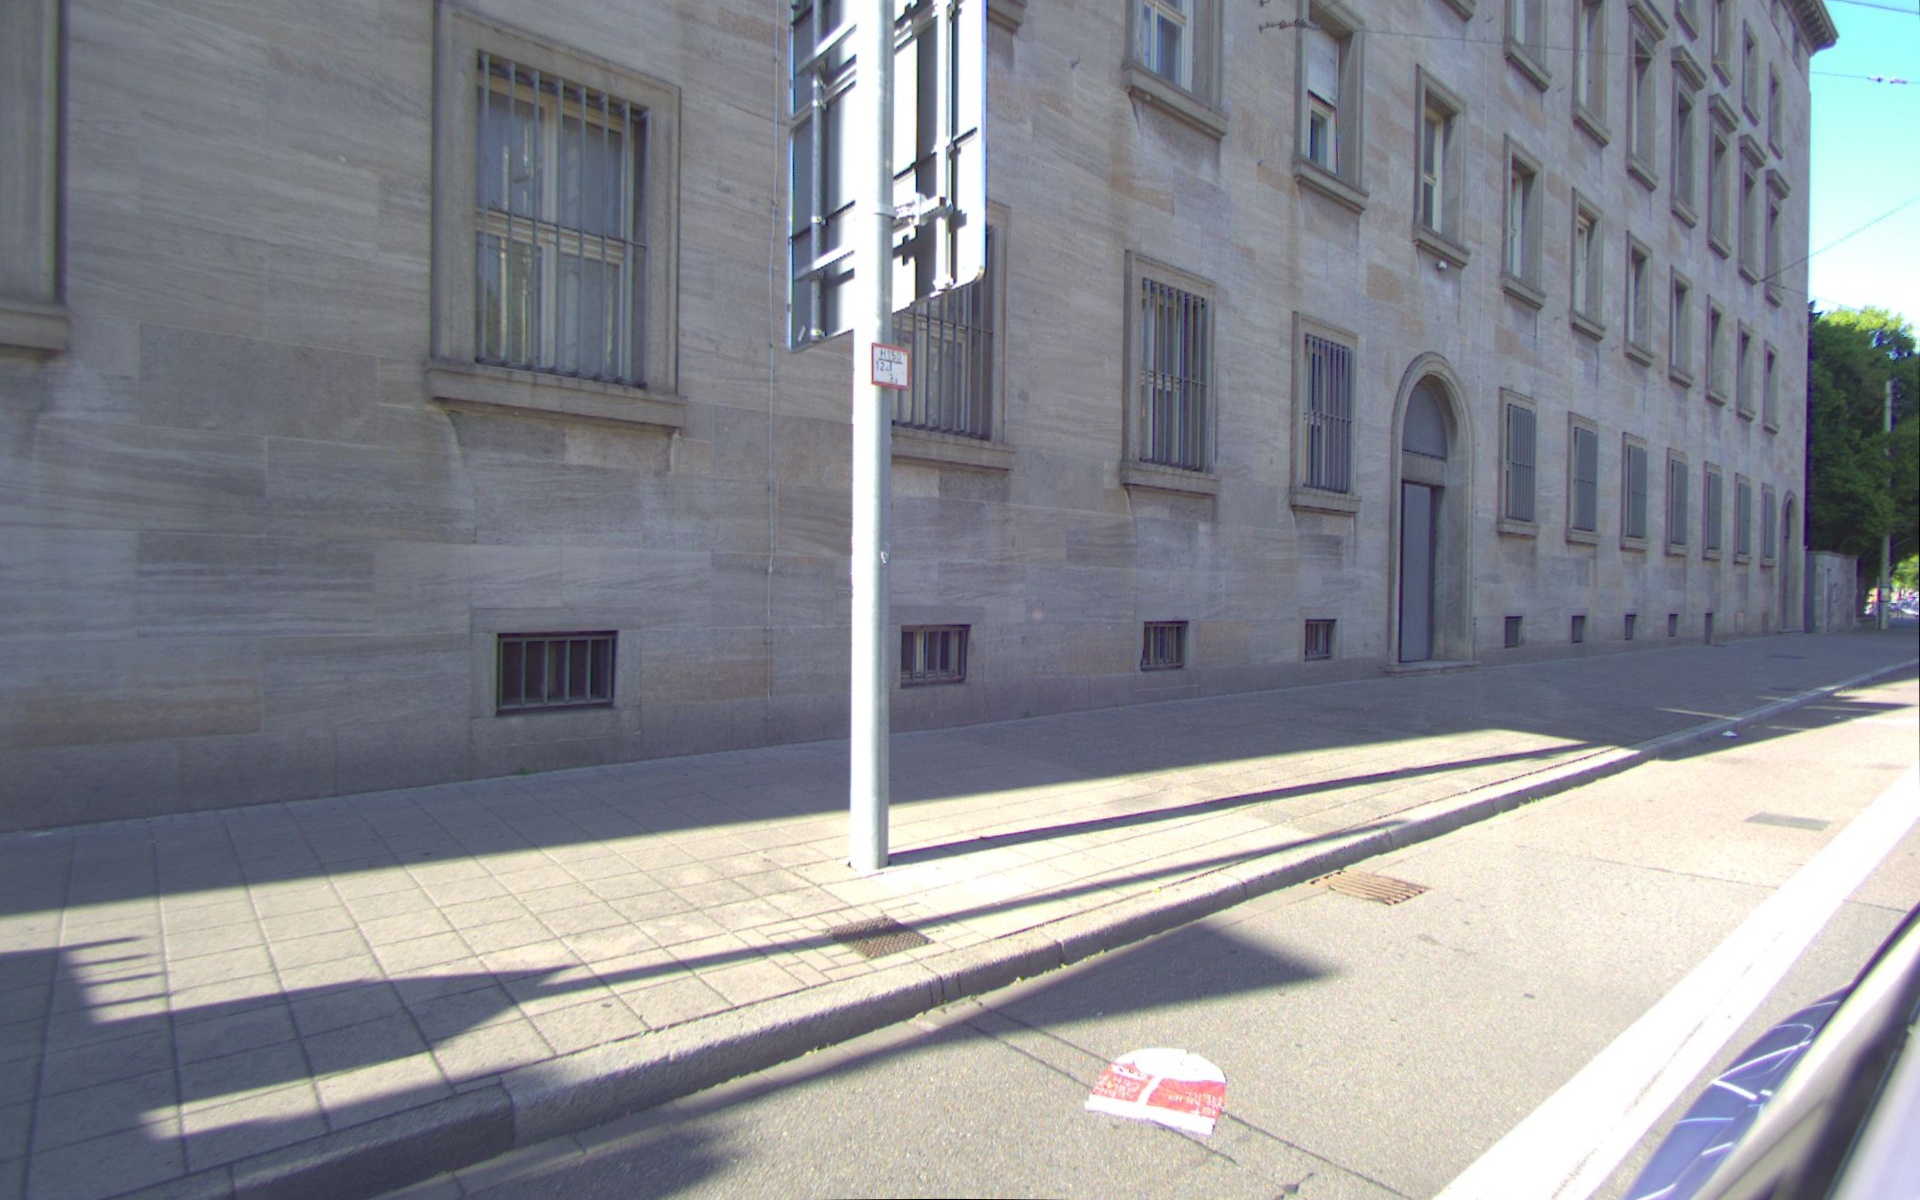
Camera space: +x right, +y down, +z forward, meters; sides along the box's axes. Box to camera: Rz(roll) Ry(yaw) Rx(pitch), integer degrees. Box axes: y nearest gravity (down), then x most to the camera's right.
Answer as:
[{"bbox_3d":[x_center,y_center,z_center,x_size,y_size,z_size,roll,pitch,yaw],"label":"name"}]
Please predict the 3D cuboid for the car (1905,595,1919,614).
[{"bbox_3d":[95.105,0.422,100.164,1.990,1.794,3.943,1,1,39],"label":"car"}]
